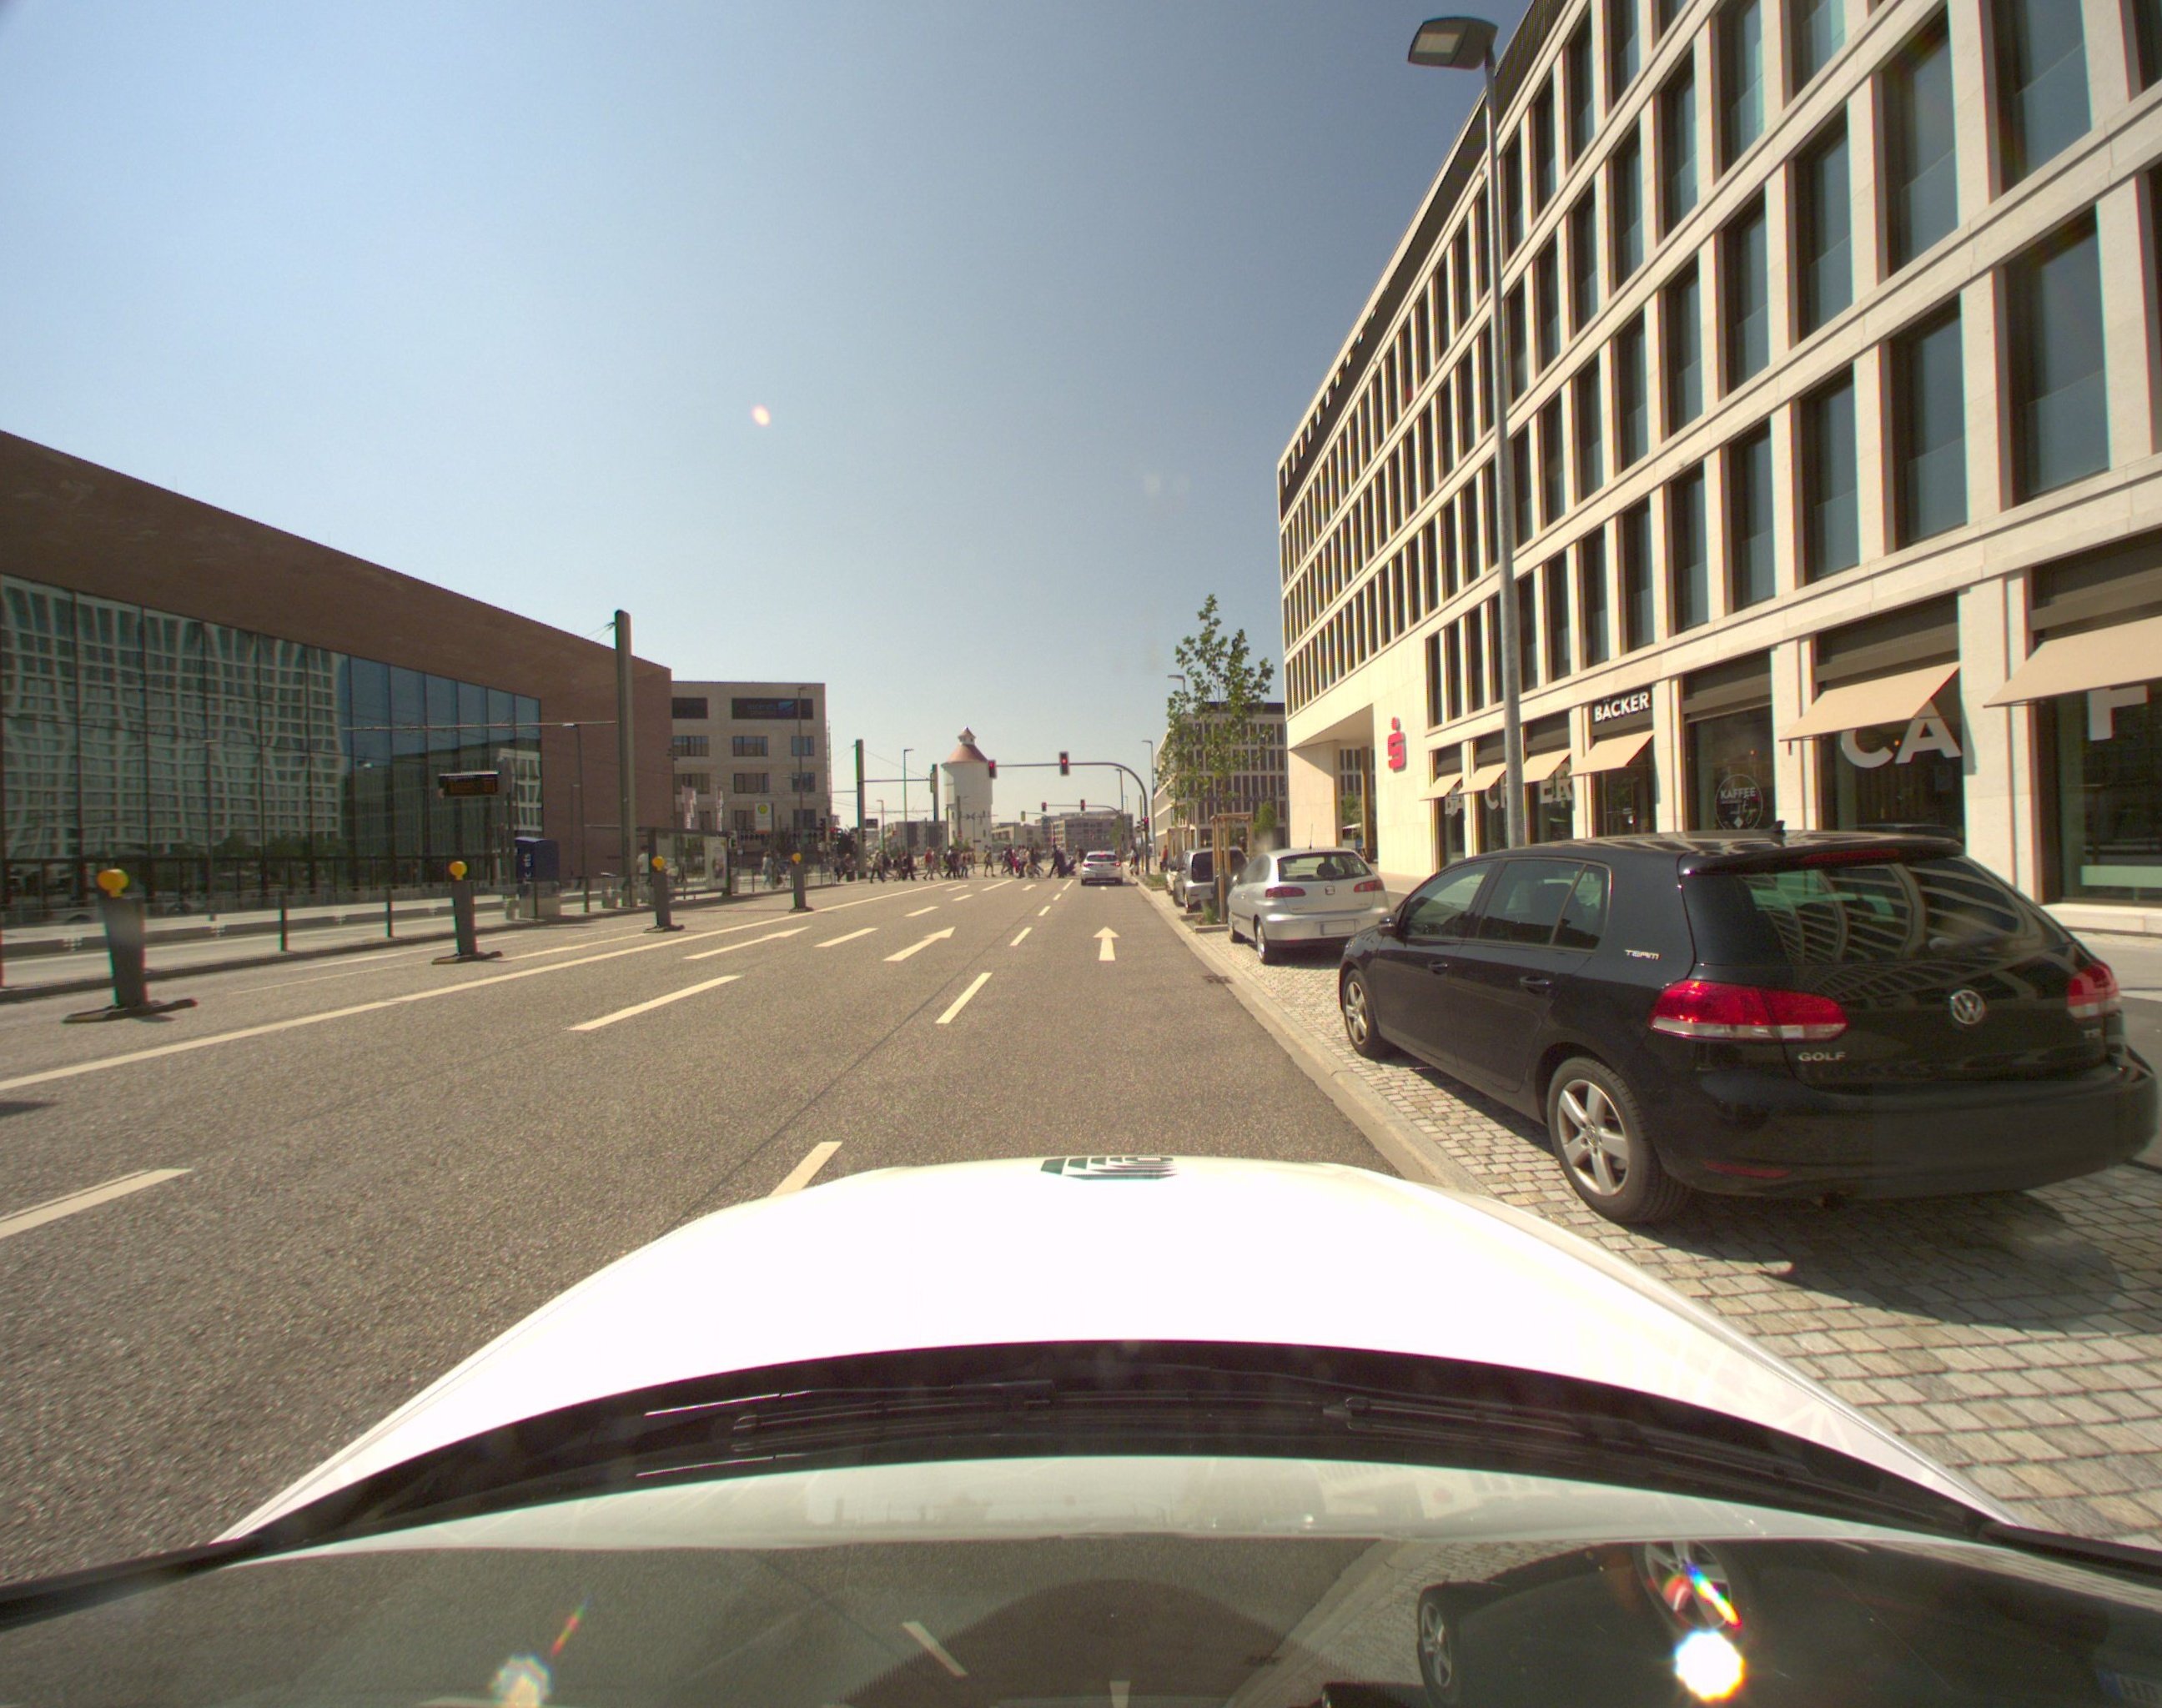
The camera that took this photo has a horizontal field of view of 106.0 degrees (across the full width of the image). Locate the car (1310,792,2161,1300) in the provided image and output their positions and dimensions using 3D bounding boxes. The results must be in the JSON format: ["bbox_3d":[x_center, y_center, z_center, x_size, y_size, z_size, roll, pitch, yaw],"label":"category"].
[{"bbox_3d":[2.844,0.592,4.601,1.732,1.474,3.976,-5,0,-2],"label":"car"}]

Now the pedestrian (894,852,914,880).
[{"bbox_3d":[-10.307,0.695,47.447,0.906,1.637,0.815,-2,0,6],"label":"pedestrian"}]

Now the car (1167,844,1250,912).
[{"bbox_3d":[3.029,0.531,19.924,1.550,1.472,3.471,-2,0,1],"label":"car"}]

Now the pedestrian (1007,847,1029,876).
[{"bbox_3d":[-4.165,0.481,53.881,1.175,1.820,1.070,-2,0,5],"label":"pedestrian"}]

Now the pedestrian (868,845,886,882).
[{"bbox_3d":[-10.864,0.503,43.366,0.634,1.890,0.797,-2,0,3],"label":"pedestrian"}]

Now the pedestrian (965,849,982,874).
[{"bbox_3d":[-7.055,0.482,53.485,0.883,1.647,0.797,-2,0,5],"label":"pedestrian"}]

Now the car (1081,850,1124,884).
[{"bbox_3d":[0.976,0.573,35.687,1.764,1.395,3.535,0,-1,3],"label":"car"}]

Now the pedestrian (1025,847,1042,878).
[{"bbox_3d":[-2.591,0.454,44.518,0.790,1.646,0.891,-2,0,3],"label":"pedestrian"}]

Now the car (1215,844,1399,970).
[{"bbox_3d":[3.042,0.627,11.735,1.599,1.387,3.816,-5,0,2],"label":"car"}]

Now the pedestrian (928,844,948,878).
[{"bbox_3d":[-8.076,0.398,46.053,0.883,1.890,0.798,-2,0,6],"label":"pedestrian"}]

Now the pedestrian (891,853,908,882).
[{"bbox_3d":[-10.096,0.750,45.334,0.724,1.576,0.642,-2,0,6],"label":"pedestrian"}]

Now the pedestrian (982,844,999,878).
[{"bbox_3d":[-5.119,0.378,46.174,0.763,1.890,0.692,-2,0,2],"label":"pedestrian"}]

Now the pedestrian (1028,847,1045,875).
[{"bbox_3d":[-2.678,0.440,49.186,0.883,1.647,0.797,-2,0,5],"label":"pedestrian"}]

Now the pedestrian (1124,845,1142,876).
[{"bbox_3d":[2.813,0.336,43.647,0.760,1.620,0.695,-2,0,18],"label":"pedestrian"}]

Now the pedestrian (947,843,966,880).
[{"bbox_3d":[-6.431,0.372,42.100,0.886,1.890,0.691,-2,0,-4],"label":"pedestrian"}]

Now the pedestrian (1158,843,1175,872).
[{"bbox_3d":[4.928,0.200,46.991,0.883,1.646,0.797,-2,0,5],"label":"pedestrian"}]

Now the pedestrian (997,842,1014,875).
[{"bbox_3d":[-4.444,0.238,47.830,0.837,1.890,0.692,-2,0,2],"label":"pedestrian"}]

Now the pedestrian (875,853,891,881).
[{"bbox_3d":[-11.963,0.783,49.192,0.896,1.674,1.007,-2,0,-17],"label":"pedestrian"}]

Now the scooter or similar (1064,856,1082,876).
[{"bbox_3d":[-0.492,0.692,48.047,0.950,1.118,0.765,-2,0,-8],"label":"scooter or similar"}]

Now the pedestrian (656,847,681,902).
[{"bbox_3d":[-13.720,0.665,27.077,0.665,1.820,0.718,0,0,-22],"label":"pedestrian"}]

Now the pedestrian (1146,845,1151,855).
[{"bbox_3d":[11.253,-0.719,135.793,0.791,1.646,0.891,-2,0,1],"label":"pedestrian"}]

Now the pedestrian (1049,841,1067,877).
[{"bbox_3d":[-1.241,0.288,43.943,0.886,1.890,0.795,-2,0,-4],"label":"pedestrian"}]

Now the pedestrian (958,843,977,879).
[{"bbox_3d":[-6.085,0.378,43.822,0.886,1.890,0.691,-2,0,-4],"label":"pedestrian"}]

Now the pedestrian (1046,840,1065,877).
[{"bbox_3d":[-1.357,0.238,43.063,0.886,1.890,0.795,-2,0,-4],"label":"pedestrian"}]

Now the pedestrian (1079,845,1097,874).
[{"bbox_3d":[0.427,0.312,48.186,0.887,1.647,0.794,-2,0,-8],"label":"pedestrian"}]

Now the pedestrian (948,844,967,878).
[{"bbox_3d":[-7.097,0.385,46.647,0.884,1.890,0.797,-2,0,1],"label":"pedestrian"}]

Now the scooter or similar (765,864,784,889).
[{"bbox_3d":[-13.623,1.000,36.206,0.502,1.059,0.834,-2,0,1],"label":"scooter or similar"}]

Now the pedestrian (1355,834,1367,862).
[{"bbox_3d":[20.538,-0.461,59.743,0.641,2.013,0.622,-2,0,1],"label":"pedestrian"}]

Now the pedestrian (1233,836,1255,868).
[{"bbox_3d":[8.628,-0.114,43.155,0.986,1.655,0.692,-2,0,3],"label":"pedestrian"}]

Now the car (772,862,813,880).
[{"bbox_3d":[-31.187,1.819,88.051,3.942,1.816,1.791,-1,-1,-11],"label":"car"}]

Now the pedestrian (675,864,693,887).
[{"bbox_3d":[-27.926,1.519,57.306,0.708,1.571,0.891,-2,0,1],"label":"pedestrian"}]

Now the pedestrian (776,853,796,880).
[{"bbox_3d":[-21.264,0.886,58.707,0.880,1.890,0.989,-2,0,21],"label":"pedestrian"}]

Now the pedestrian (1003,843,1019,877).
[{"bbox_3d":[-4.014,0.327,46.788,0.763,1.890,0.692,-2,0,2],"label":"pedestrian"}]

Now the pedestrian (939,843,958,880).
[{"bbox_3d":[-6.975,0.385,42.931,0.886,1.890,0.691,-2,0,-4],"label":"pedestrian"}]

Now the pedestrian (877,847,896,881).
[{"bbox_3d":[-11.995,0.620,50.228,1.022,2.013,0.949,-2,0,-17],"label":"pedestrian"}]

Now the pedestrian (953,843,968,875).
[{"bbox_3d":[-7.120,0.292,48.062,0.730,1.890,0.715,0,0,6],"label":"pedestrian"}]

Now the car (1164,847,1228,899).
[{"bbox_3d":[3.377,0.517,24.569,1.424,1.390,4.001,-2,0,1],"label":"car"}]

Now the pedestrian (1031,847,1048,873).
[{"bbox_3d":[-2.678,0.411,52.615,0.883,1.647,0.797,-2,0,5],"label":"pedestrian"}]

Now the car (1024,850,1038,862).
[{"bbox_3d":[-6.776,0.280,110.847,1.581,1.530,3.692,-1,-1,0],"label":"car"}]

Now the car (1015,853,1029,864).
[{"bbox_3d":[-8.663,0.663,119.738,1.581,1.530,3.258,-1,-1,1],"label":"car"}]

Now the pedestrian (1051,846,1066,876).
[{"bbox_3d":[-1.302,0.407,47.236,0.763,1.734,0.692,-2,0,2],"label":"pedestrian"}]

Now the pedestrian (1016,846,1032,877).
[{"bbox_3d":[-3.179,0.408,45.281,0.763,1.734,0.692,-2,0,2],"label":"pedestrian"}]

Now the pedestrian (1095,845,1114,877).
[{"bbox_3d":[1.217,0.360,42.925,0.886,1.635,0.691,-2,0,-4],"label":"pedestrian"}]

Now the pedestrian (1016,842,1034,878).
[{"bbox_3d":[-3.003,0.314,43.570,0.726,1.890,0.822,-2,0,7],"label":"pedestrian"}]

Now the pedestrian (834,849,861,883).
[{"bbox_3d":[-13.734,0.713,47.969,1.164,1.890,1.061,-2,2,3],"label":"pedestrian"}]

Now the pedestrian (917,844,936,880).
[{"bbox_3d":[-8.304,0.429,43.736,0.886,1.890,0.691,-2,0,-4],"label":"pedestrian"}]

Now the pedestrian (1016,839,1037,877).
[{"bbox_3d":[-2.792,0.209,41.832,1.010,1.890,0.798,-2,0,-2],"label":"pedestrian"}]

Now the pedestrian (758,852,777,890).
[{"bbox_3d":[-13.647,0.711,35.448,0.502,1.622,0.650,-2,0,1],"label":"pedestrian"}]

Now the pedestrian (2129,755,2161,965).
[{"bbox_3d":[9.266,0.043,6.538,0.625,1.742,0.814,-2,0,1],"label":"pedestrian"}]

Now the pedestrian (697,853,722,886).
[{"bbox_3d":[-21.354,0.888,46.795,0.974,1.890,0.827,-1,-1,2],"label":"pedestrian"}]

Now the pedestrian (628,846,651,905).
[{"bbox_3d":[-13.946,0.663,25.719,0.551,1.820,0.596,0,0,-20],"label":"pedestrian"}]

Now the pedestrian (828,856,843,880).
[{"bbox_3d":[-17.368,0.989,57.586,0.663,1.681,0.700,-2,0,42],"label":"pedestrian"}]

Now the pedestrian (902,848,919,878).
[{"bbox_3d":[-9.242,0.485,44.069,0.630,1.618,0.770,-2,0,7],"label":"pedestrian"}]
